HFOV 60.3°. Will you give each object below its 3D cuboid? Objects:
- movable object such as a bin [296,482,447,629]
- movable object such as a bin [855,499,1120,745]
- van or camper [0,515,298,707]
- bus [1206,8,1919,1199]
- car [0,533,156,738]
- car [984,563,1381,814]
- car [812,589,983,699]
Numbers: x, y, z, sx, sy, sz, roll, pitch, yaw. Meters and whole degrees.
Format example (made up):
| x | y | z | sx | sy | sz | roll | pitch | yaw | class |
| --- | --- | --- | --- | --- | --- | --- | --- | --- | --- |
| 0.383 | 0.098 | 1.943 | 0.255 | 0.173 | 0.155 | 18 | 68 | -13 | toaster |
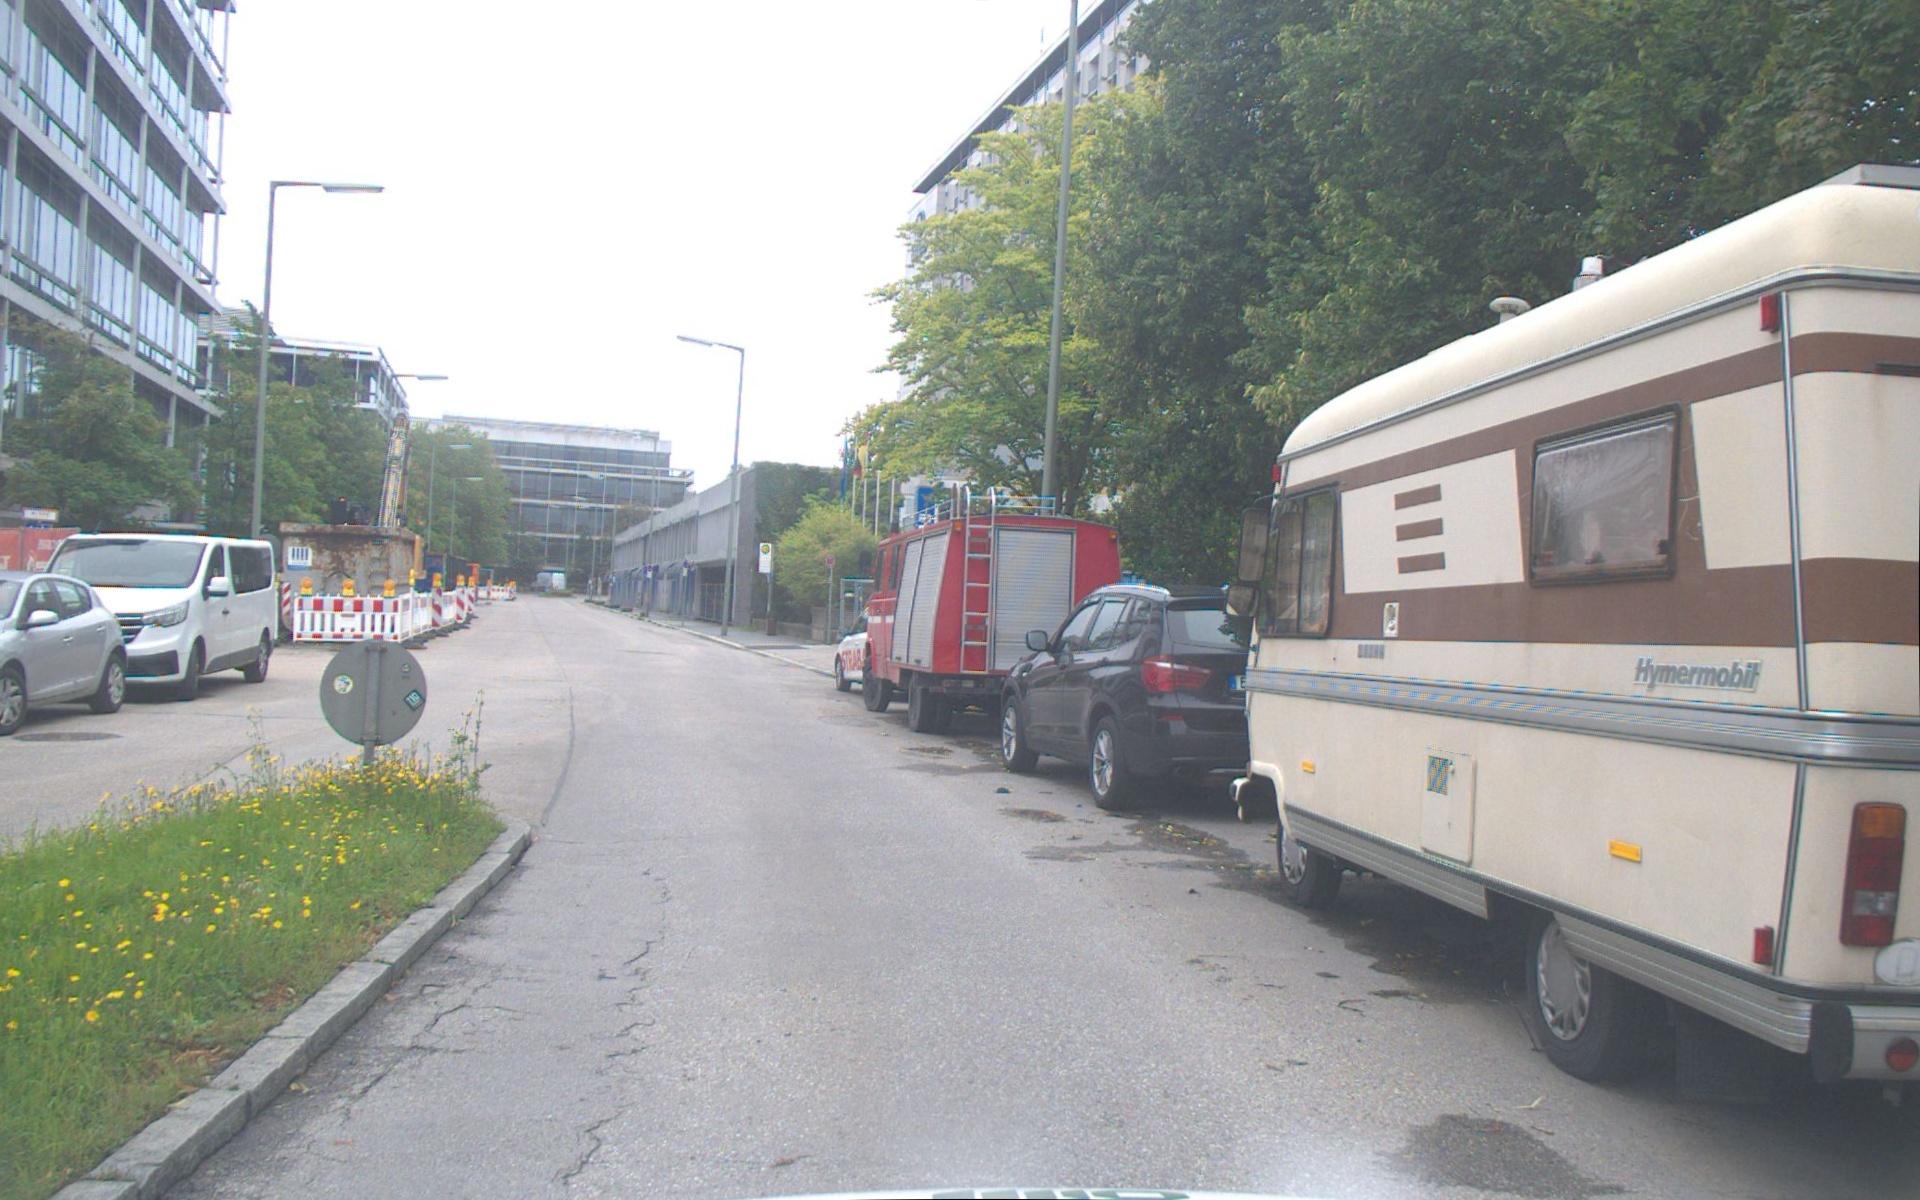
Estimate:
| x | y | z | sx | sy | sz | roll | pitch | yaw | class |
| --- | --- | --- | --- | --- | --- | --- | --- | --- | --- |
| -17.147 | -1.293 | 48.767 | 3.186 | 3.781 | 8.975 | 3 | 1 | -14 | movable object such as a bin |
| 0.114 | 0.206 | 20.451 | 2.066 | 2.501 | 6.172 | 3 | 0 | -10 | movable object such as a bin |
| -10.089 | 0.076 | 20.989 | 1.957 | 2.048 | 5.365 | 3 | 1 | -10 | van or camper |
| 2.841 | 0.137 | 6.513 | 2.270 | 2.746 | 5.727 | 3 | 0 | -6 | bus |
| -9.437 | 0.237 | 15.641 | 1.956 | 1.758 | 4.442 | 3 | 1 | -8 | car |
| 1.596 | 0.595 | 13.614 | 1.745 | 1.678 | 4.446 | 3 | 0 | -13 | car |
| -1.123 | 0.671 | 27.441 | 1.748 | 1.576 | 4.237 | 3 | 0 | -17 | car |
